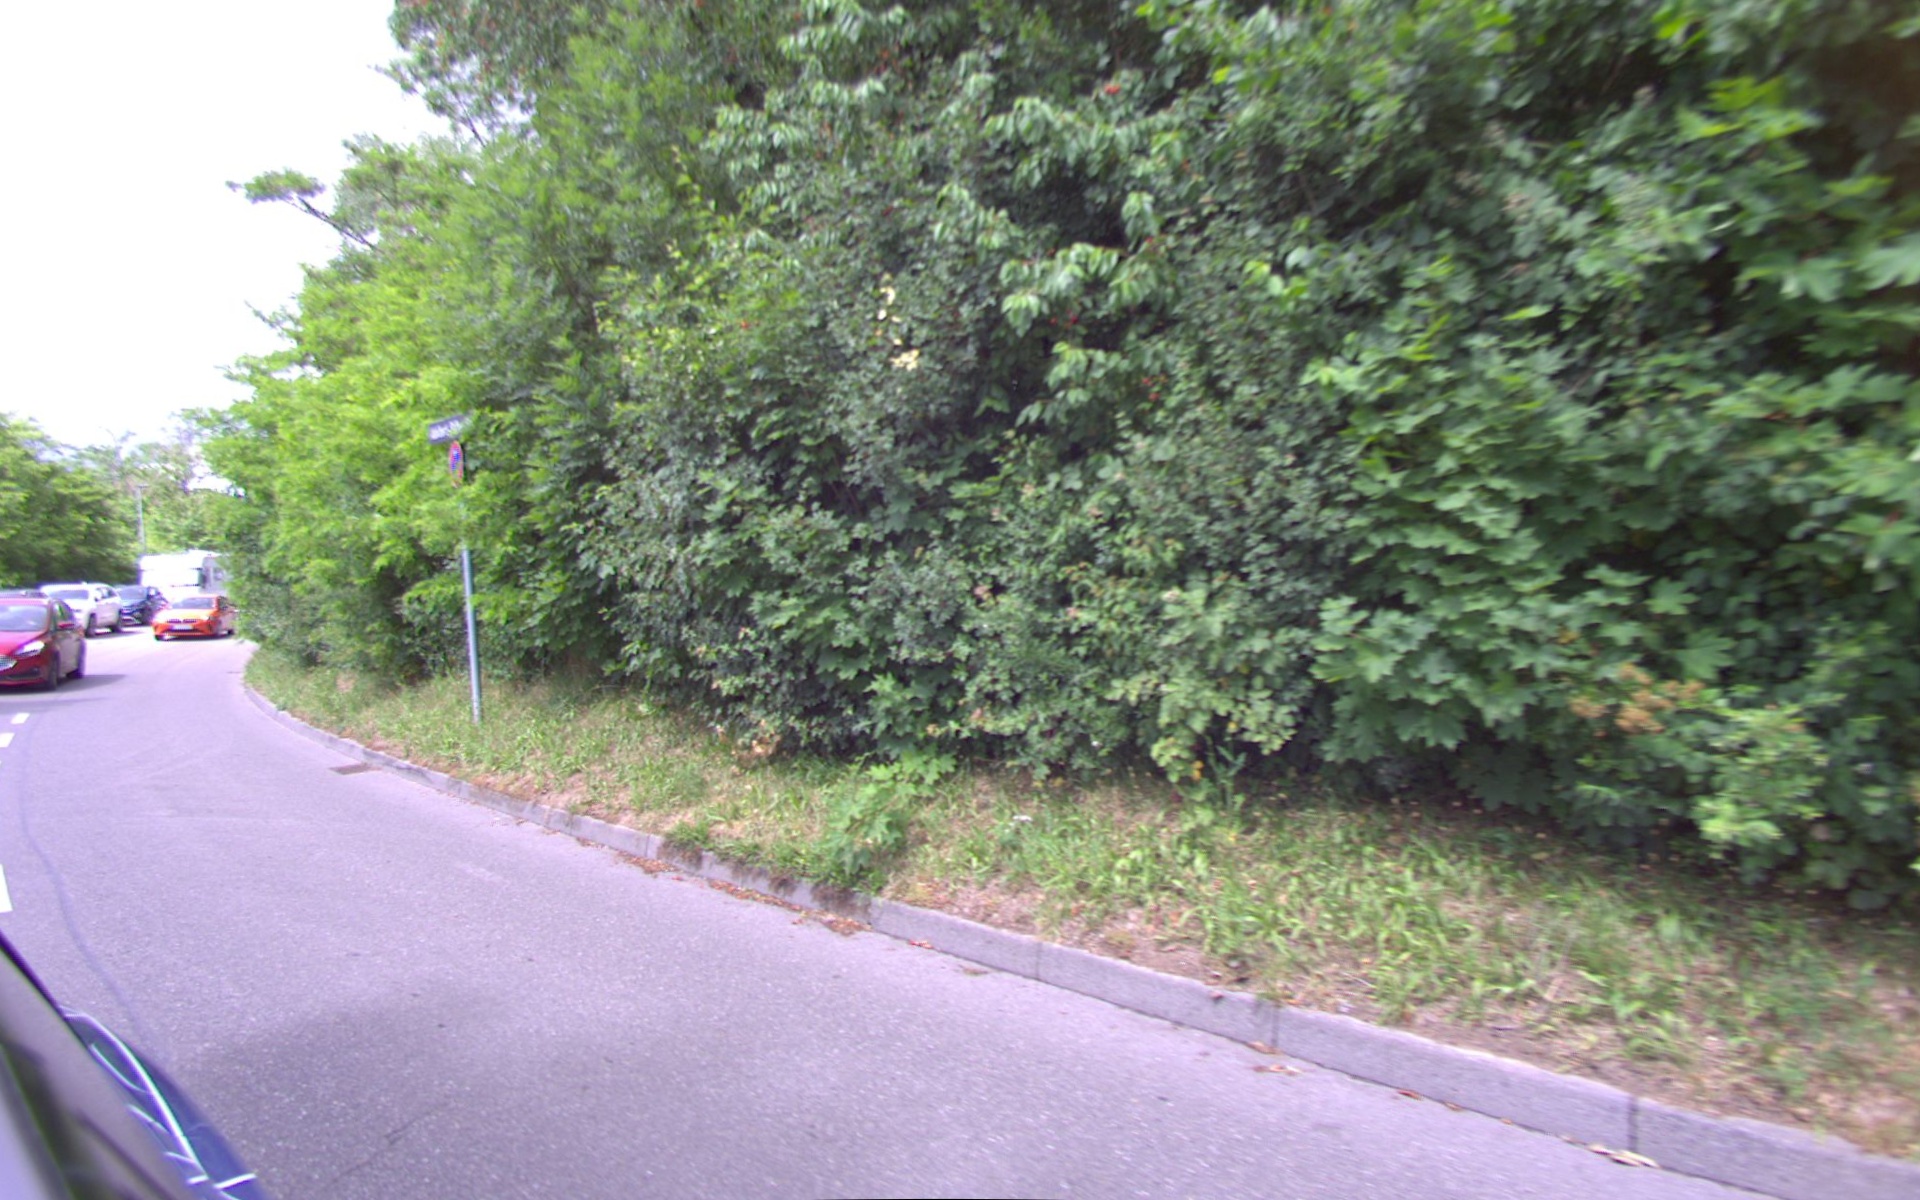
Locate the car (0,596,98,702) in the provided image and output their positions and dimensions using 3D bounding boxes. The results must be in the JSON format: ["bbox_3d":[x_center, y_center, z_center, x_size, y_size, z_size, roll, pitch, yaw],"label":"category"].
[{"bbox_3d":[-17.211,0.805,18.158,1.783,1.621,3.735,2,1,-26],"label":"car"}]

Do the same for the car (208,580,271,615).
[{"bbox_3d":[-37.791,-0.168,53.165,1.704,1.530,3.903,-2,4,-21],"label":"car"}]

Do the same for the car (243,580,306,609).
[{"bbox_3d":[-39.781,-0.365,58.847,1.751,1.445,4.347,-2,3,-17],"label":"car"}]

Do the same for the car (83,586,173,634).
[{"bbox_3d":[-32.455,0.342,39.587,1.687,1.603,4.014,-4,4,-25],"label":"car"}]

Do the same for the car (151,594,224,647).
[{"bbox_3d":[-25.807,0.621,33.823,1.833,1.453,4.009,-1,4,-37],"label":"car"}]

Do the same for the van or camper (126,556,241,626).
[{"bbox_3d":[-35.091,-0.511,45.979,2.300,2.890,6.171,-4,3,-21],"label":"van or camper"}]

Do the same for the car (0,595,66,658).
[{"bbox_3d":[-27.131,0.708,28.504,1.965,1.638,4.292,0,1,-28],"label":"car"}]

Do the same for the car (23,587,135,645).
[{"bbox_3d":[-29.795,0.471,34.371,1.846,1.701,4.594,-4,3,-29],"label":"car"}]
